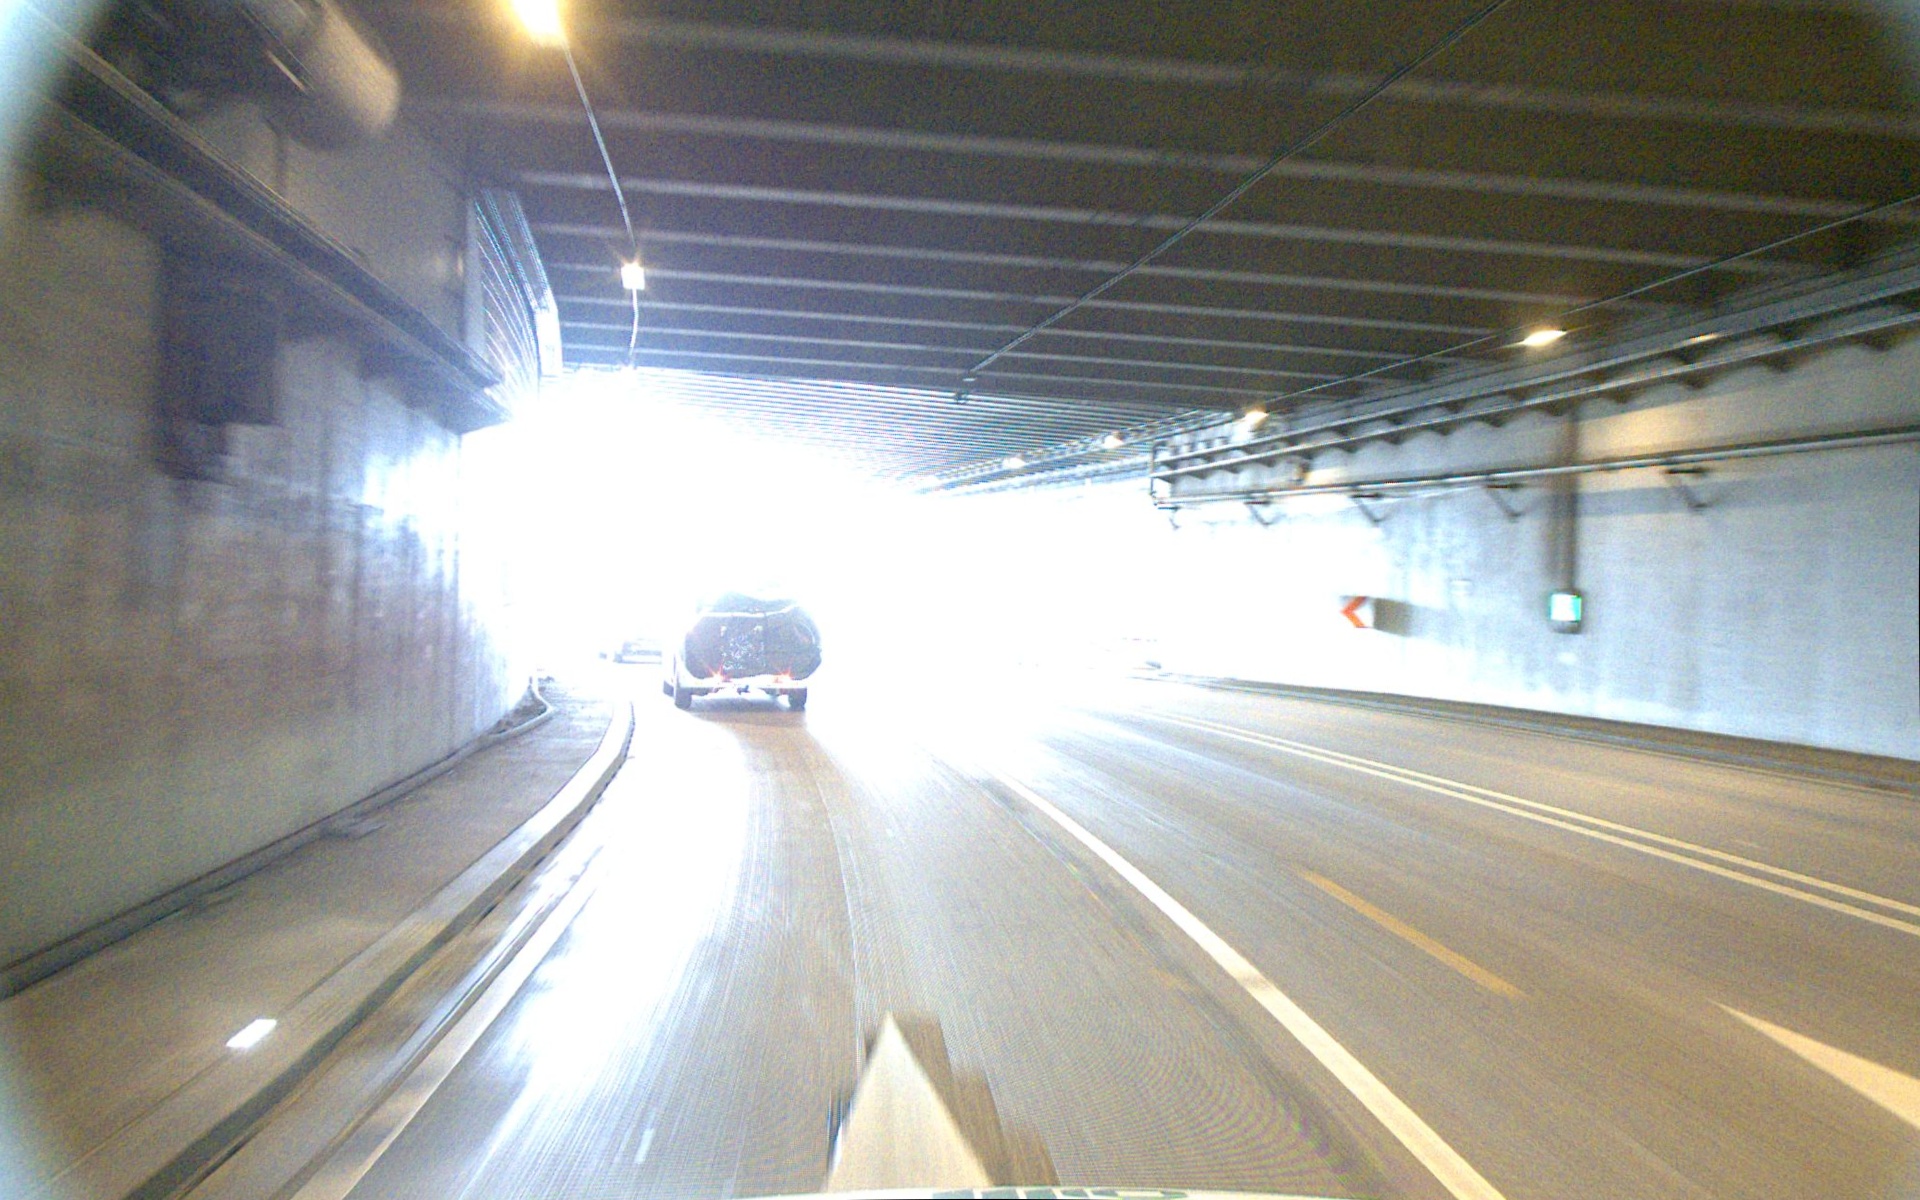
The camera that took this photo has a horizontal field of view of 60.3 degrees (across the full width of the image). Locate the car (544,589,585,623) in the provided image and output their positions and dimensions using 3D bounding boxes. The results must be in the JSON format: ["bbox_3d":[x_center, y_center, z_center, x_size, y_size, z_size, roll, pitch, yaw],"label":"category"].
[{"bbox_3d":[-20.897,0.324,87.222,1.960,1.693,3.984,2,0,-15],"label":"car"}]

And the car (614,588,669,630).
[{"bbox_3d":[-13.548,0.371,70.252,1.960,1.693,3.984,2,0,-15],"label":"car"}]

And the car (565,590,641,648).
[{"bbox_3d":[-10.558,0.534,48.710,1.889,1.514,4.048,3,0,-16],"label":"car"}]

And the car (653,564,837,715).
[{"bbox_3d":[-3.227,0.486,23.786,1.959,1.891,5.620,-1,0,-14],"label":"car"}]

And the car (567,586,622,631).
[{"bbox_3d":[-14.629,0.331,66.056,1.960,1.693,3.984,2,0,-15],"label":"car"}]

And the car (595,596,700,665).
[{"bbox_3d":[-7.278,0.671,38.268,1.788,1.459,4.042,2,0,-20],"label":"car"}]
